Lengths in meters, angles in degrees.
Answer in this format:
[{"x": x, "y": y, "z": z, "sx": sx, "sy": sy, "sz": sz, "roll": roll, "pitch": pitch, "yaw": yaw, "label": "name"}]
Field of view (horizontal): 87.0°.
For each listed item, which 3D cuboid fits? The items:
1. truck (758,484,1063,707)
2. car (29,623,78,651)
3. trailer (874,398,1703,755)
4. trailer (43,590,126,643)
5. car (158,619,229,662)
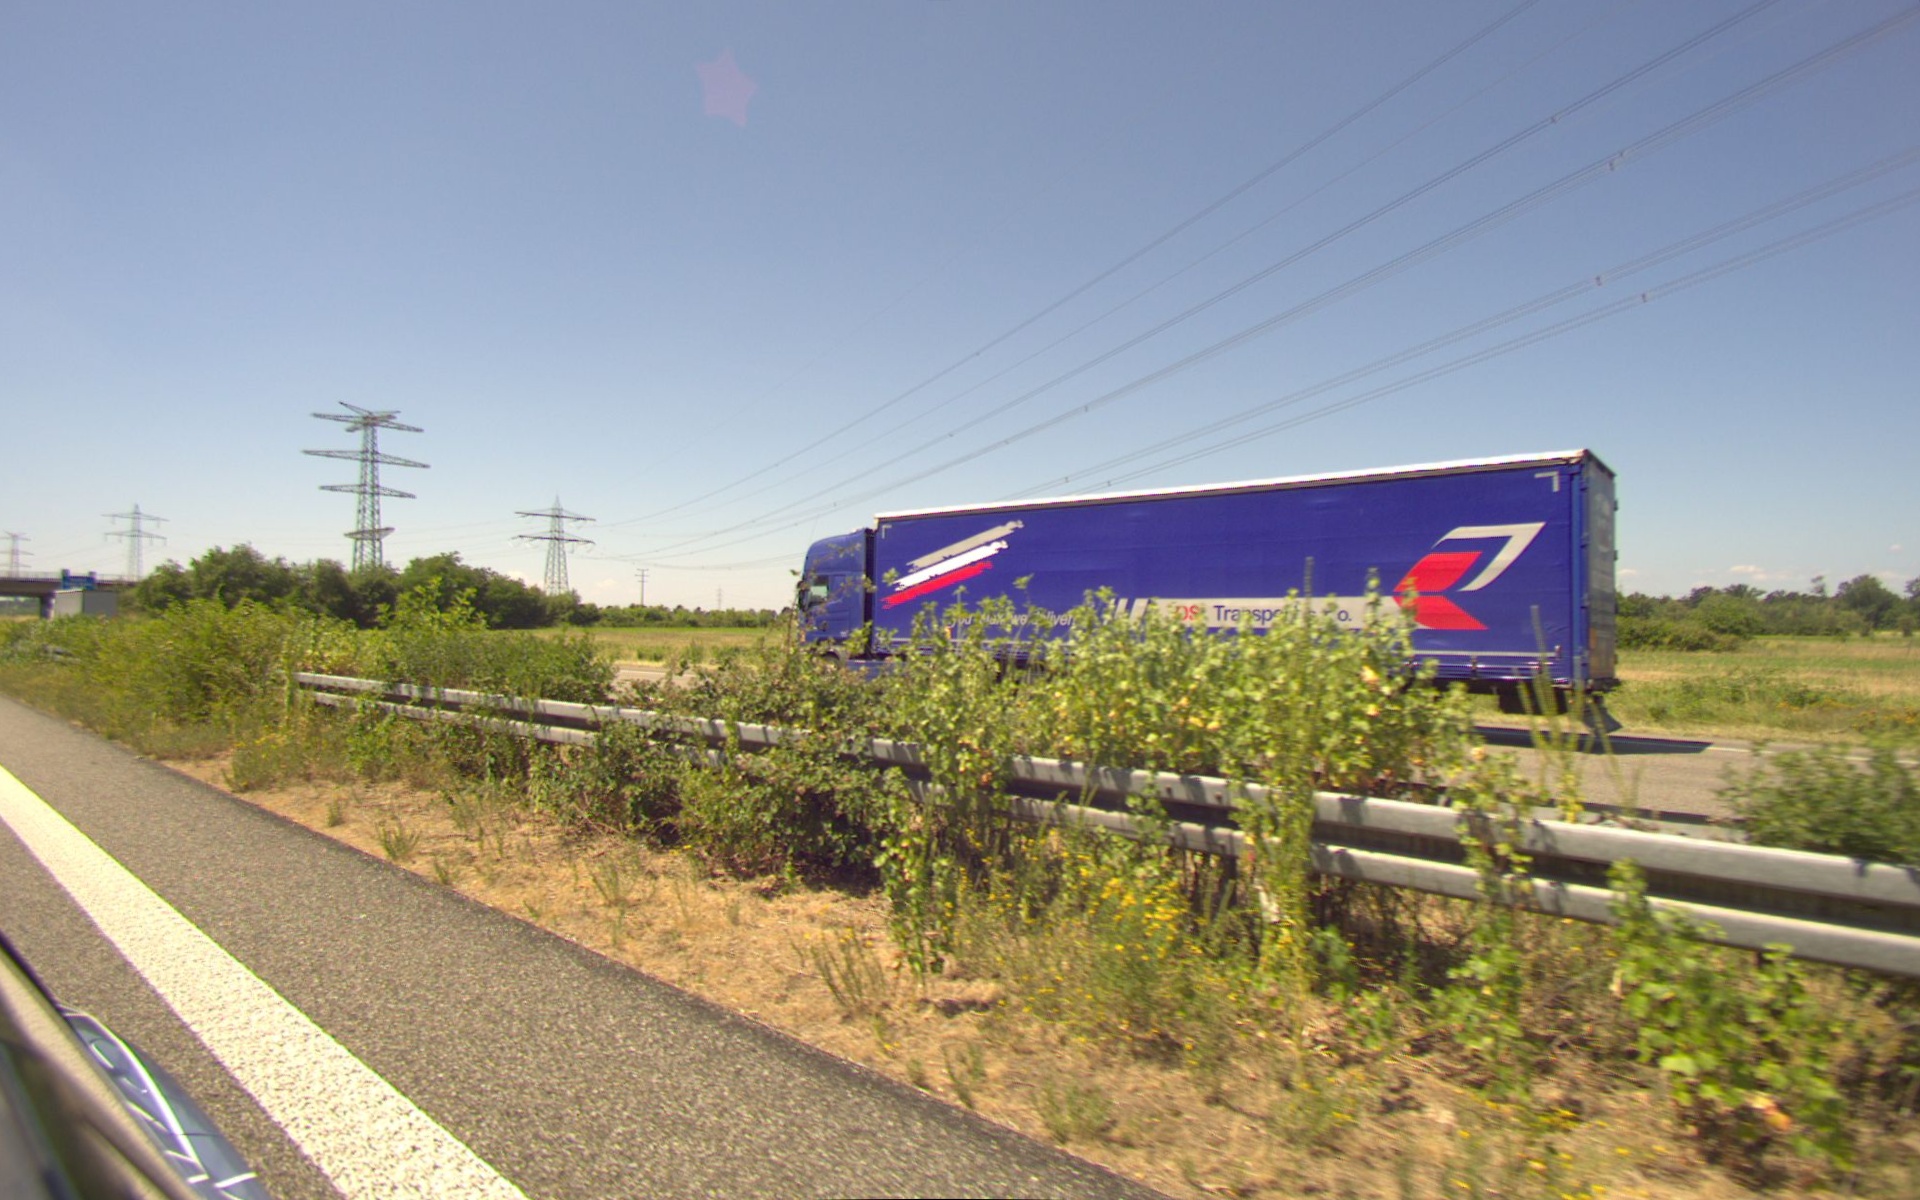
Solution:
[{"x": -1.292, "y": 0.025, "z": 23.524, "sx": 6.797, "sy": 4.441, "sz": 3.055, "roll": -1, "pitch": -4, "yaw": 41, "label": "truck"}, {"x": -64.494, "y": 2.605, "z": 71.967, "sx": 4.723, "sy": 1.958, "sz": 1.973, "roll": -1, "pitch": -3, "yaw": 41, "label": "car"}, {"x": 4.537, "y": -0.121, "z": 18.381, "sx": 14.224, "sy": 4.441, "sz": 3.055, "roll": -1, "pitch": -4, "yaw": 41, "label": "trailer"}, {"x": -79.218, "y": 1.544, "z": 91.391, "sx": 14.310, "sy": 4.442, "sz": 3.333, "roll": -1, "pitch": -4, "yaw": 41, "label": "trailer"}, {"x": -38.506, "y": 1.982, "z": 50.811, "sx": 4.292, "sy": 2.029, "sz": 1.973, "roll": -1, "pitch": 0, "yaw": 41, "label": "car"}]
